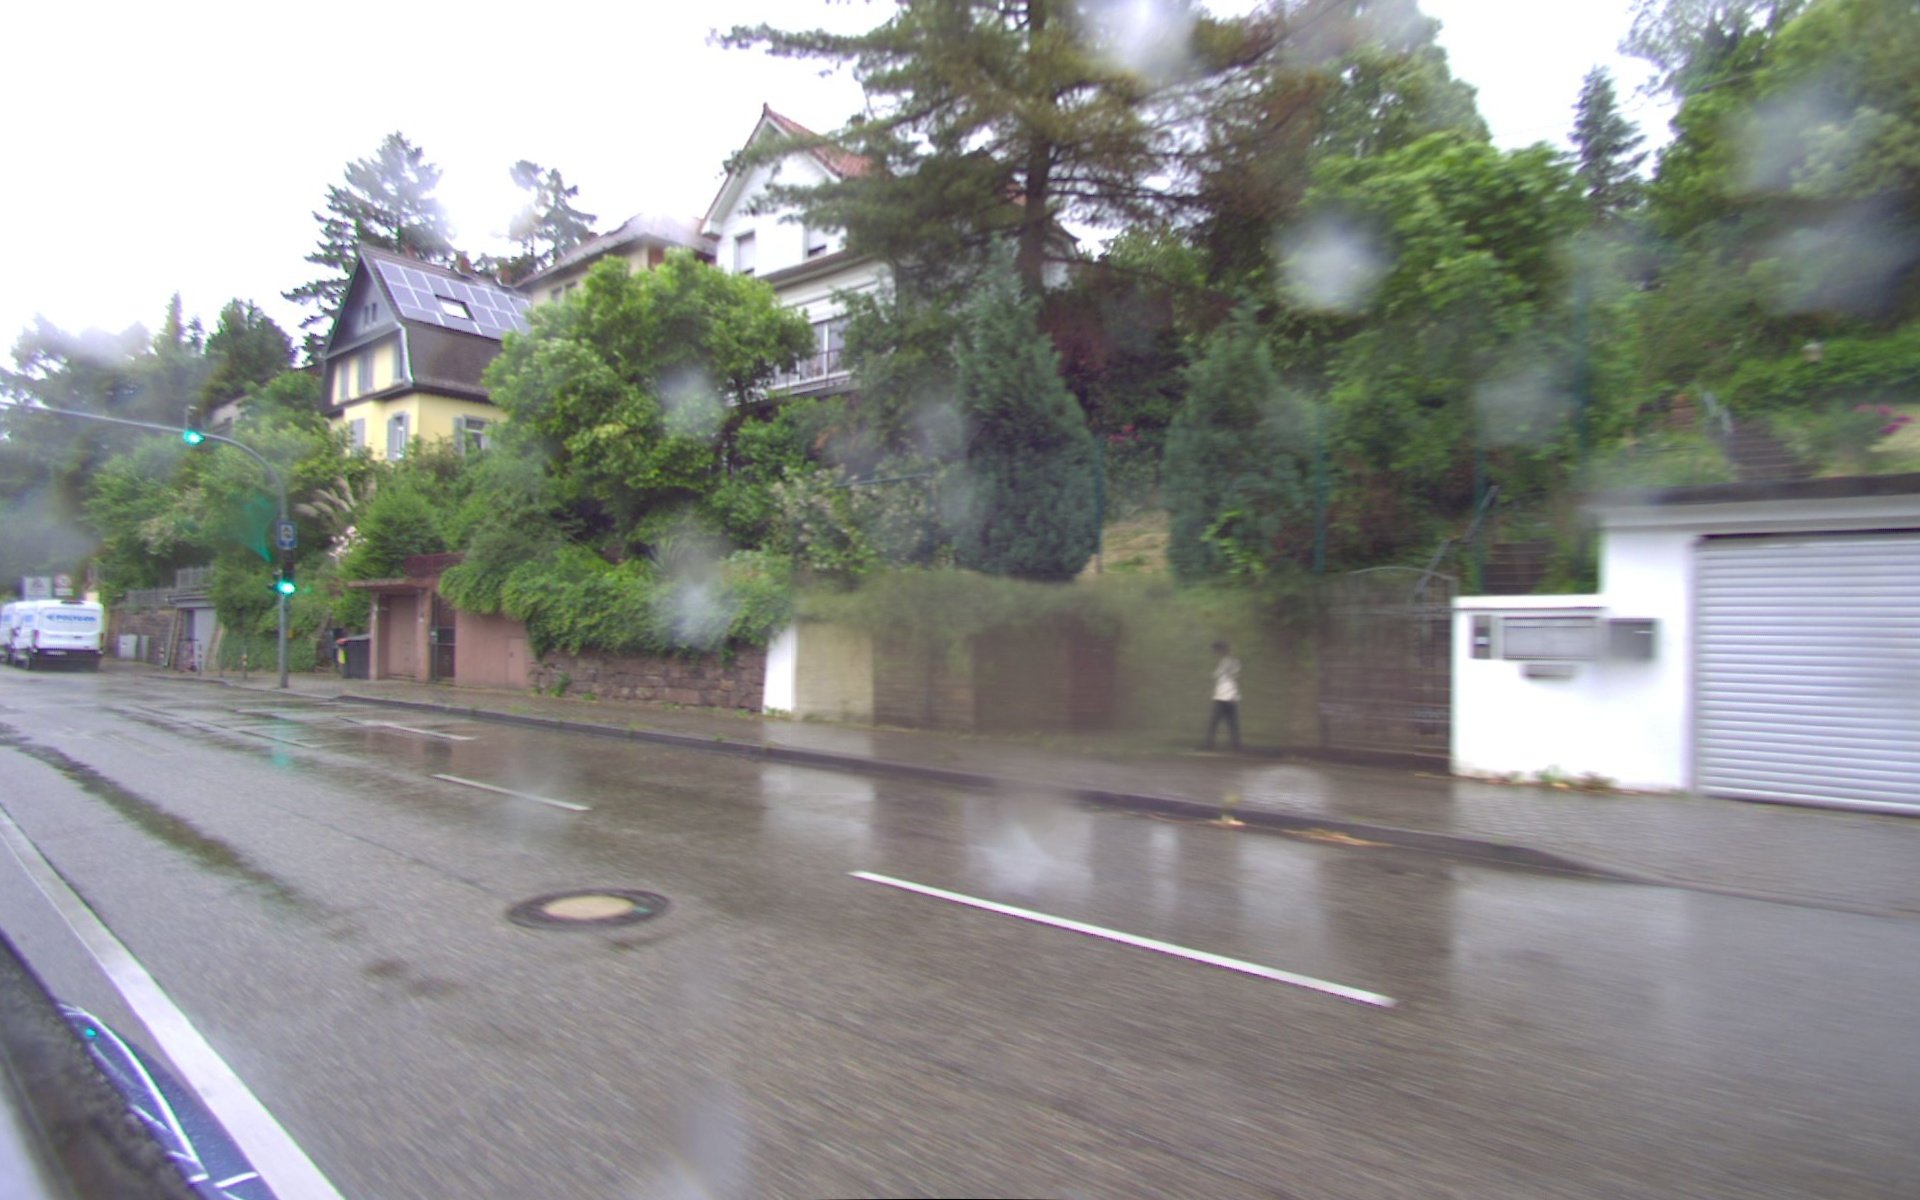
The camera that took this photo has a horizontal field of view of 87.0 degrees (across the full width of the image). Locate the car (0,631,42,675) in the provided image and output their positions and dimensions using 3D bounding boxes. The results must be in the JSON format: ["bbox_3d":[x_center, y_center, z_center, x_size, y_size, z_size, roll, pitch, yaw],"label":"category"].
[{"bbox_3d":[-46.316,2.507,48.902,4.912,1.971,2.135,-1,-5,40],"label":"car"}]

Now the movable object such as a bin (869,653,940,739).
[{"bbox_3d":[-0.723,1.240,13.299,0.656,1.048,0.674,-1,-1,39],"label":"movable object such as a bin"}]

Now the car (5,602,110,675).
[{"bbox_3d":[-33.235,1.413,37.233,4.850,2.497,2.058,-1,-5,40],"label":"car"}]

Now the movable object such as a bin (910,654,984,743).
[{"bbox_3d":[-0.166,1.215,12.712,0.656,1.048,0.674,-1,-1,39],"label":"movable object such as a bin"}]

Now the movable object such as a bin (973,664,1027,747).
[{"bbox_3d":[0.489,1.262,12.261,0.416,0.947,0.537,-1,-1,39],"label":"movable object such as a bin"}]

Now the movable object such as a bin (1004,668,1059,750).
[{"bbox_3d":[0.848,1.276,11.973,0.416,0.905,0.525,-1,-1,39],"label":"movable object such as a bin"}]

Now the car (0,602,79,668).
[{"bbox_3d":[-38.142,1.426,41.505,4.912,2.487,2.135,-1,-5,40],"label":"car"}]

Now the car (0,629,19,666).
[{"bbox_3d":[-51.394,2.435,53.177,4.912,1.840,2.135,-1,-5,40],"label":"car"}]
